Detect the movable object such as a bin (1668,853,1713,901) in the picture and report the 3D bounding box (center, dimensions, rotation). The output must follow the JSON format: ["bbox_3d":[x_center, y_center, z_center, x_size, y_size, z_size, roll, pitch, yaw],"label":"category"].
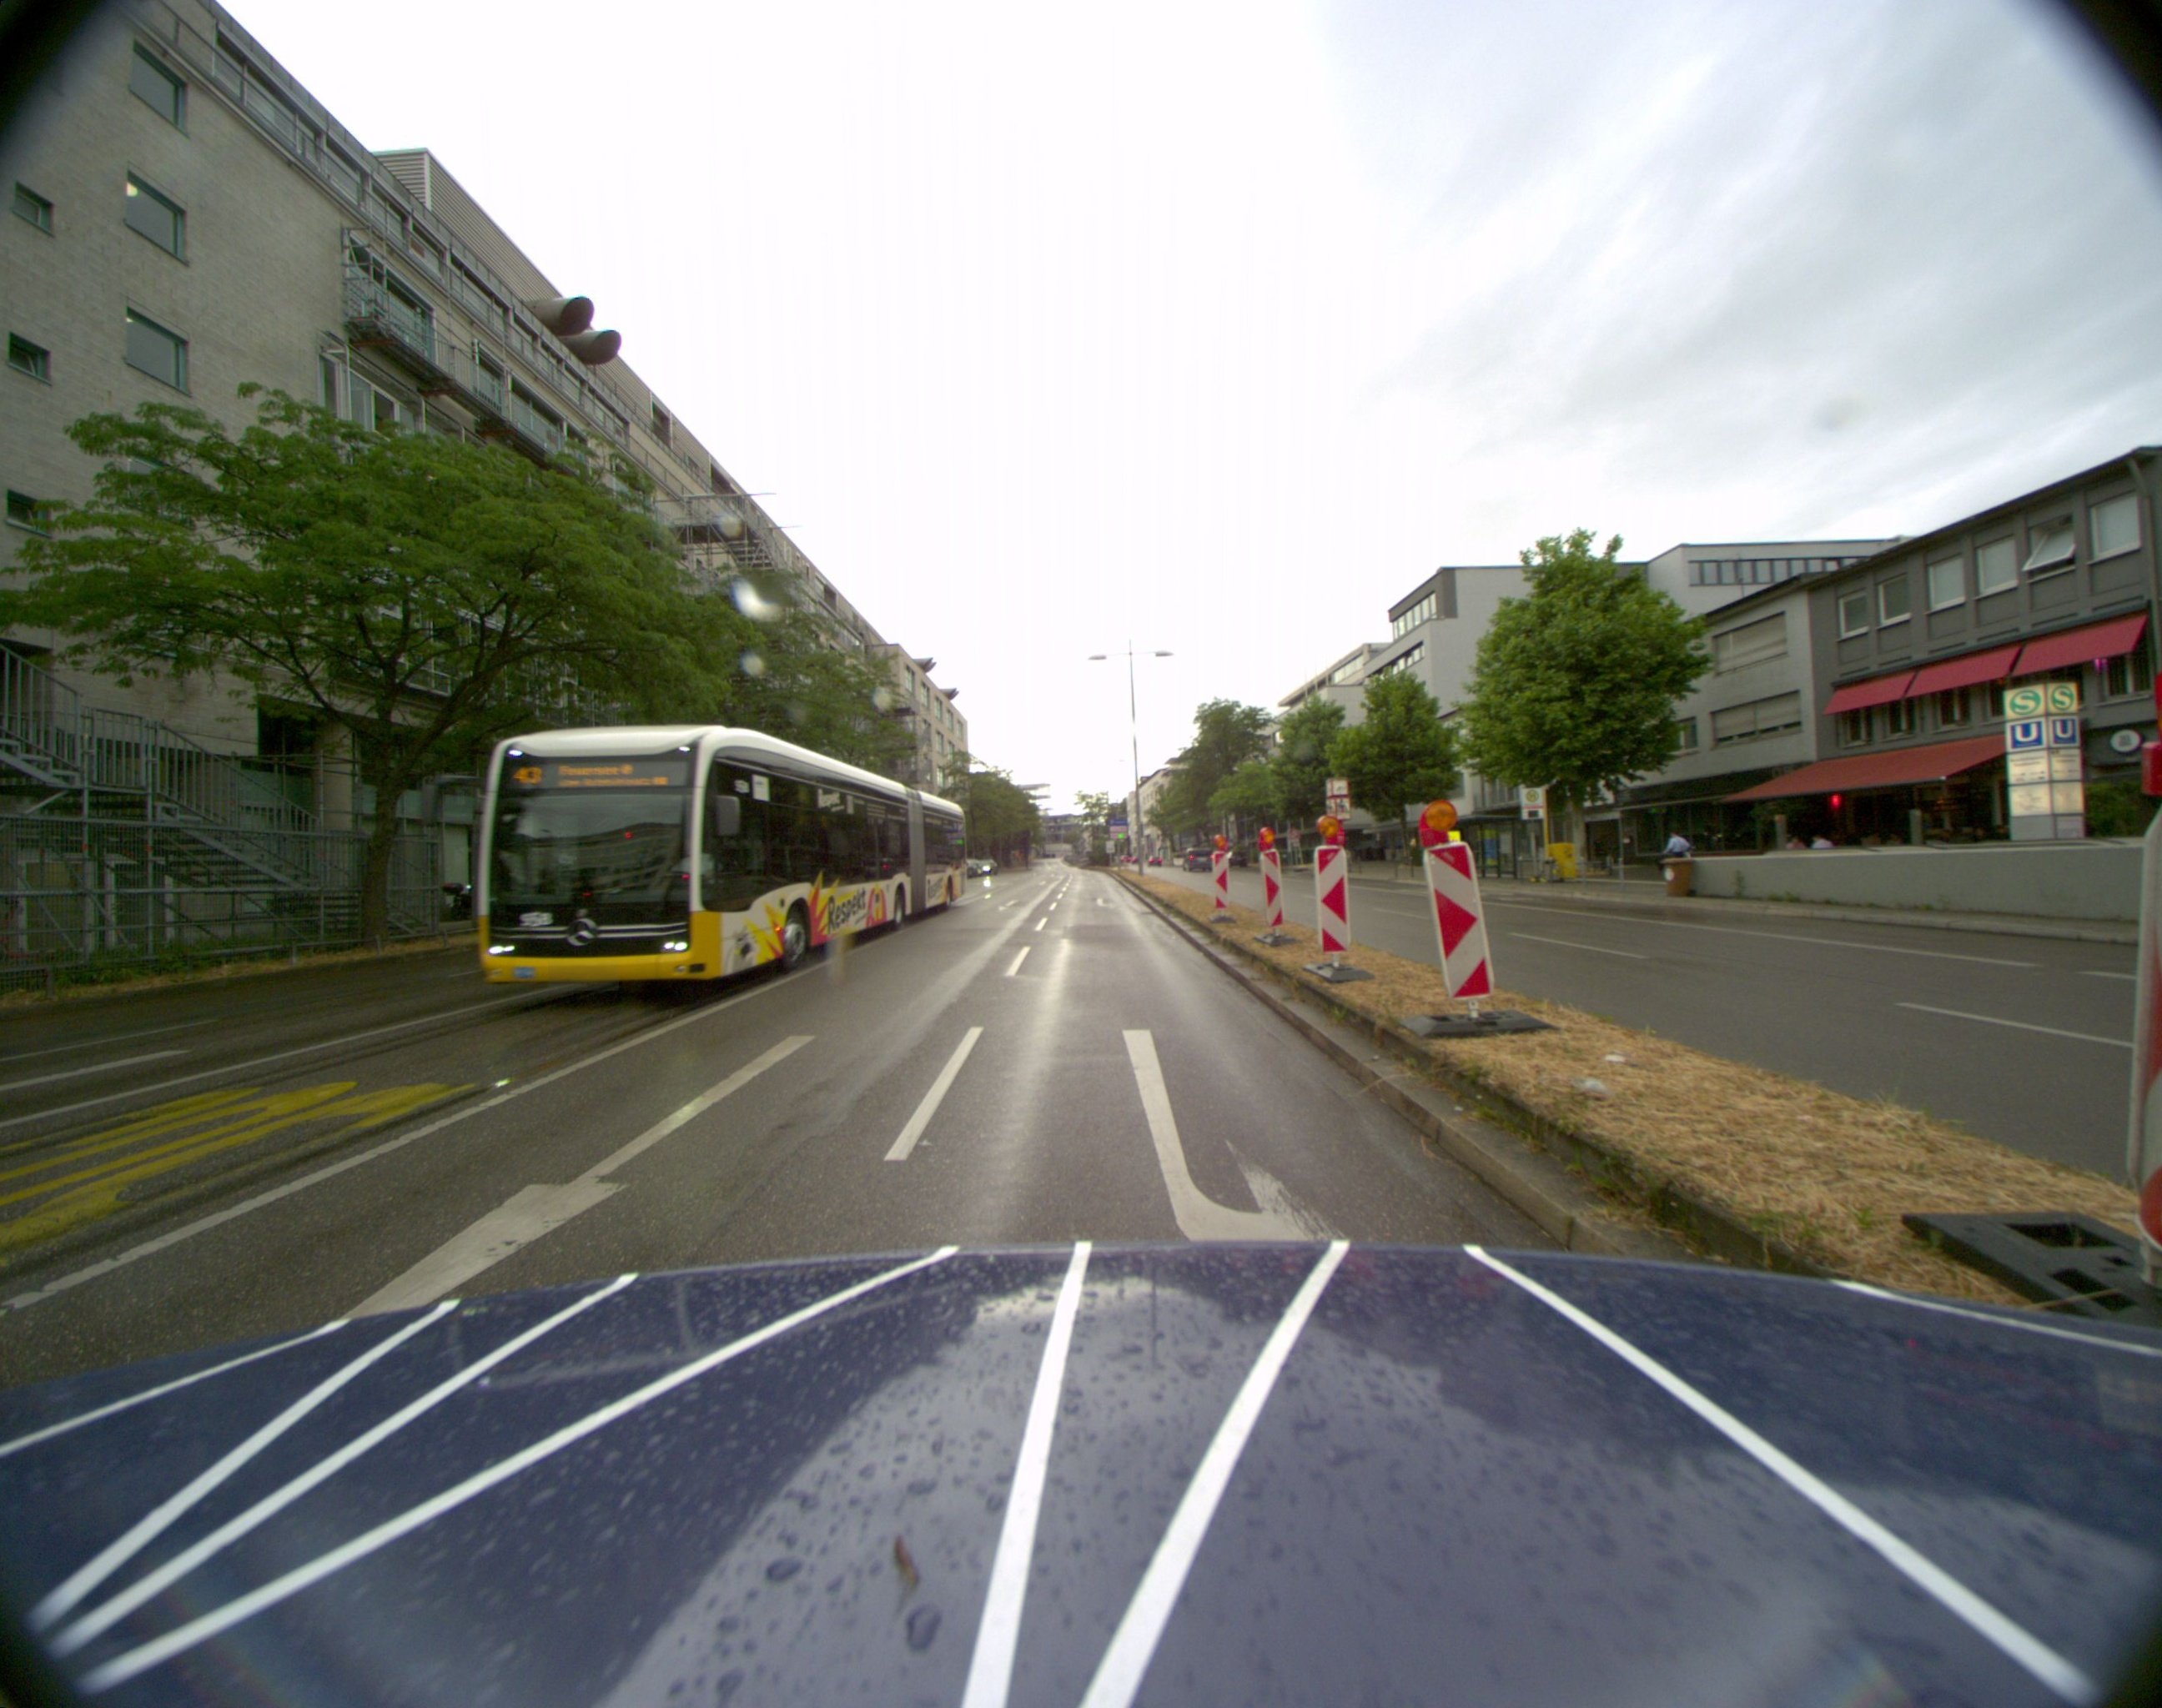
[{"bbox_3d":[14.565,0.548,18.166,0.507,1.094,0.660,-2,1,-2],"label":"movable object such as a bin"}]

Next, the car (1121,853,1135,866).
[{"bbox_3d":[7.543,0.830,122.465,1.998,2.002,4.000,-2,1,2],"label":"car"}]

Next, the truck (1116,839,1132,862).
[{"bbox_3d":[7.106,-0.569,127.113,1.999,3.557,7.572,-2,0,-2],"label":"truck"}]

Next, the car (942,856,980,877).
[{"bbox_3d":[-9.622,0.975,61.218,2.147,1.486,4.816,-2,1,1],"label":"car"}]

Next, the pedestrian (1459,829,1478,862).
[{"bbox_3d":[24.041,-0.526,47.133,0.774,2.002,0.767,-2,1,8],"label":"pedestrian"}]

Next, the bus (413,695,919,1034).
[{"bbox_3d":[-5.367,0.065,12.805,2.890,3.430,9.756,-2,1,1],"label":"bus"}]

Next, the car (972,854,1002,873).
[{"bbox_3d":[-8.891,0.892,72.424,2.147,1.637,4.816,-2,1,1],"label":"car"}]

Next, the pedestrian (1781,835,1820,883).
[{"bbox_3d":[23.346,0.169,24.667,0.669,1.520,0.611,-2,1,3],"label":"pedestrian"}]

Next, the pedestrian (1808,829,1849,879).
[{"bbox_3d":[23.315,0.010,23.707,0.669,1.520,0.611,-2,1,3],"label":"pedestrian"}]

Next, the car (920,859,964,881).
[{"bbox_3d":[-9.887,1.124,54.421,2.147,1.329,4.816,-2,1,1],"label":"car"}]

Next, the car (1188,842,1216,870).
[{"bbox_3d":[9.889,0.108,62.436,1.997,1.917,4.964,-3,4,7],"label":"car"}]

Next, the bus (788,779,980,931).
[{"bbox_3d":[-5.224,-0.030,22.541,2.890,3.420,9.709,-2,1,1],"label":"bus"}]

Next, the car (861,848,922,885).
[{"bbox_3d":[-10.535,0.652,42.648,2.213,1.895,4.329,-2,1,0],"label":"car"}]

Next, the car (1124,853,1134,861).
[{"bbox_3d":[9.904,0.630,157.489,1.692,1.545,4.419,-2,1,-2],"label":"car"}]

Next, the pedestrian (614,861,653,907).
[{"bbox_3d":[-18.164,1.220,30.883,1.010,1.789,0.845,-2,1,-4],"label":"pedestrian"}]

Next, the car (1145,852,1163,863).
[{"bbox_3d":[10.129,0.493,105.559,1.692,1.501,4.289,-2,0,-5],"label":"car"}]

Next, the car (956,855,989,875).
[{"bbox_3d":[-9.462,0.934,66.687,2.147,1.552,4.816,-2,1,1],"label":"car"}]

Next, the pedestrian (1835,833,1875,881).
[{"bbox_3d":[25.025,0.107,24.576,0.669,1.520,0.611,-2,1,4],"label":"pedestrian"}]

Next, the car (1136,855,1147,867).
[{"bbox_3d":[11.079,1.330,140.249,1.692,1.419,4.223,-1,-12,0],"label":"car"}]

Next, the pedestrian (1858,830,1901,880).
[{"bbox_3d":[24.995,0.029,23.790,0.669,1.520,0.611,-2,1,3],"label":"pedestrian"}]

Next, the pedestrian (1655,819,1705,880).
[{"bbox_3d":[20.243,-0.154,25.704,0.922,2.002,0.944,-2,1,0],"label":"pedestrian"}]
